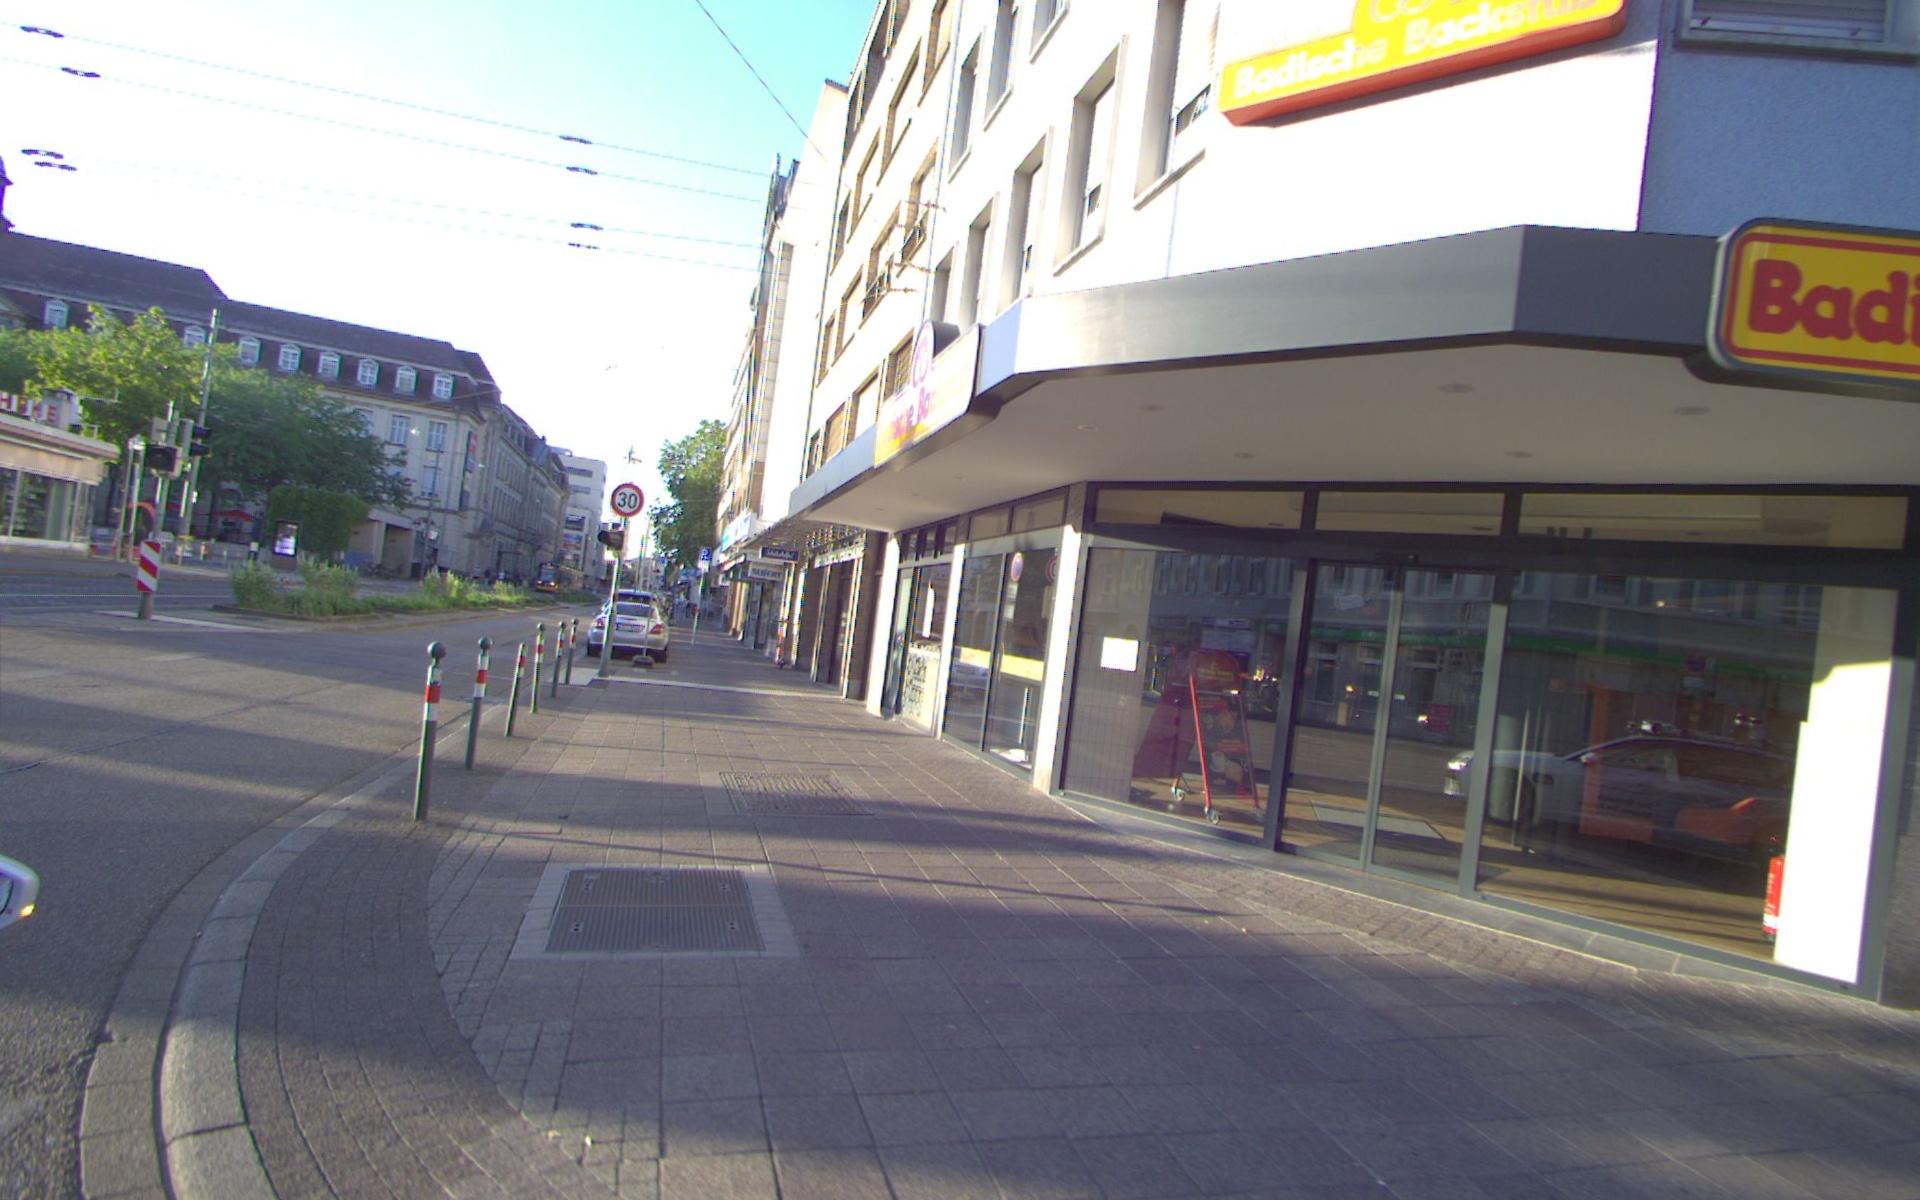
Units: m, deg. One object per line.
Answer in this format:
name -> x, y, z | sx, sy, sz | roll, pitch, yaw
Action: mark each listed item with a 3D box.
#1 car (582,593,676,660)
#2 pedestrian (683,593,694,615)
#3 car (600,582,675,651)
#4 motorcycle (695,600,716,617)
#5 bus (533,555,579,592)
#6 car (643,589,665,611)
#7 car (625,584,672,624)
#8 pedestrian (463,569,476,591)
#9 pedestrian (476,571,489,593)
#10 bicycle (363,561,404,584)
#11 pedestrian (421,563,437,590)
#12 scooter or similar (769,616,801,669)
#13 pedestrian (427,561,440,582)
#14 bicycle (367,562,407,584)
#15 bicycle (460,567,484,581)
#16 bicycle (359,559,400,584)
car -> -7.889, 0.609, 24.280 | 1.653, 1.297, 4.055 | 8, -2, -13
pedestrian -> -22.838, 0.308, 84.501 | 0.670, 1.736, 0.653 | 7, -2, -14
car -> -9.294, 0.437, 29.217 | 1.744, 1.623, 4.274 | 8, -2, -16
motorcycle -> -20.868, 0.660, 82.340 | 0.562, 1.158, 2.270 | 9, -2, -42
bus -> -48.149, -3.062, 120.378 | 2.788, 3.694, 17.023 | 7, -2, -15
car -> -31.690, -0.017, 104.183 | 1.892, 2.004, 4.408 | 8, -2, -16
car -> -14.905, 0.195, 48.357 | 1.795, 1.604, 4.710 | 8, -2, -15
pedestrian -> -44.527, -1.815, 91.319 | 0.684, 1.868, 0.660 | 7, -2, -16
pedestrian -> -43.714, -1.665, 92.060 | 0.724, 1.861, 0.713 | 7, -2, -16
bicycle -> -39.492, -1.890, 68.921 | 2.215, 1.269, 0.578 | 8, -2, -16
pedestrian -> -40.697, -1.823, 77.138 | 0.715, 1.956, 0.791 | 7, -2, -13
scooter or similar -> -4.391, 1.043, 25.209 | 0.455, 1.197, 1.567 | 7, -1, -17
pedestrian -> -46.254, -2.504, 88.444 | 0.711, 1.664, 0.653 | 9, -1, -38
bicycle -> -39.911, -1.884, 70.035 | 2.215, 1.246, 0.583 | 8, -1, -16
bicycle -> -50.511, -2.716, 104.121 | 2.075, 1.161, 0.572 | 8, -3, -21
bicycle -> -38.953, -1.922, 67.491 | 2.171, 1.314, 0.578 | 8, -2, -16
